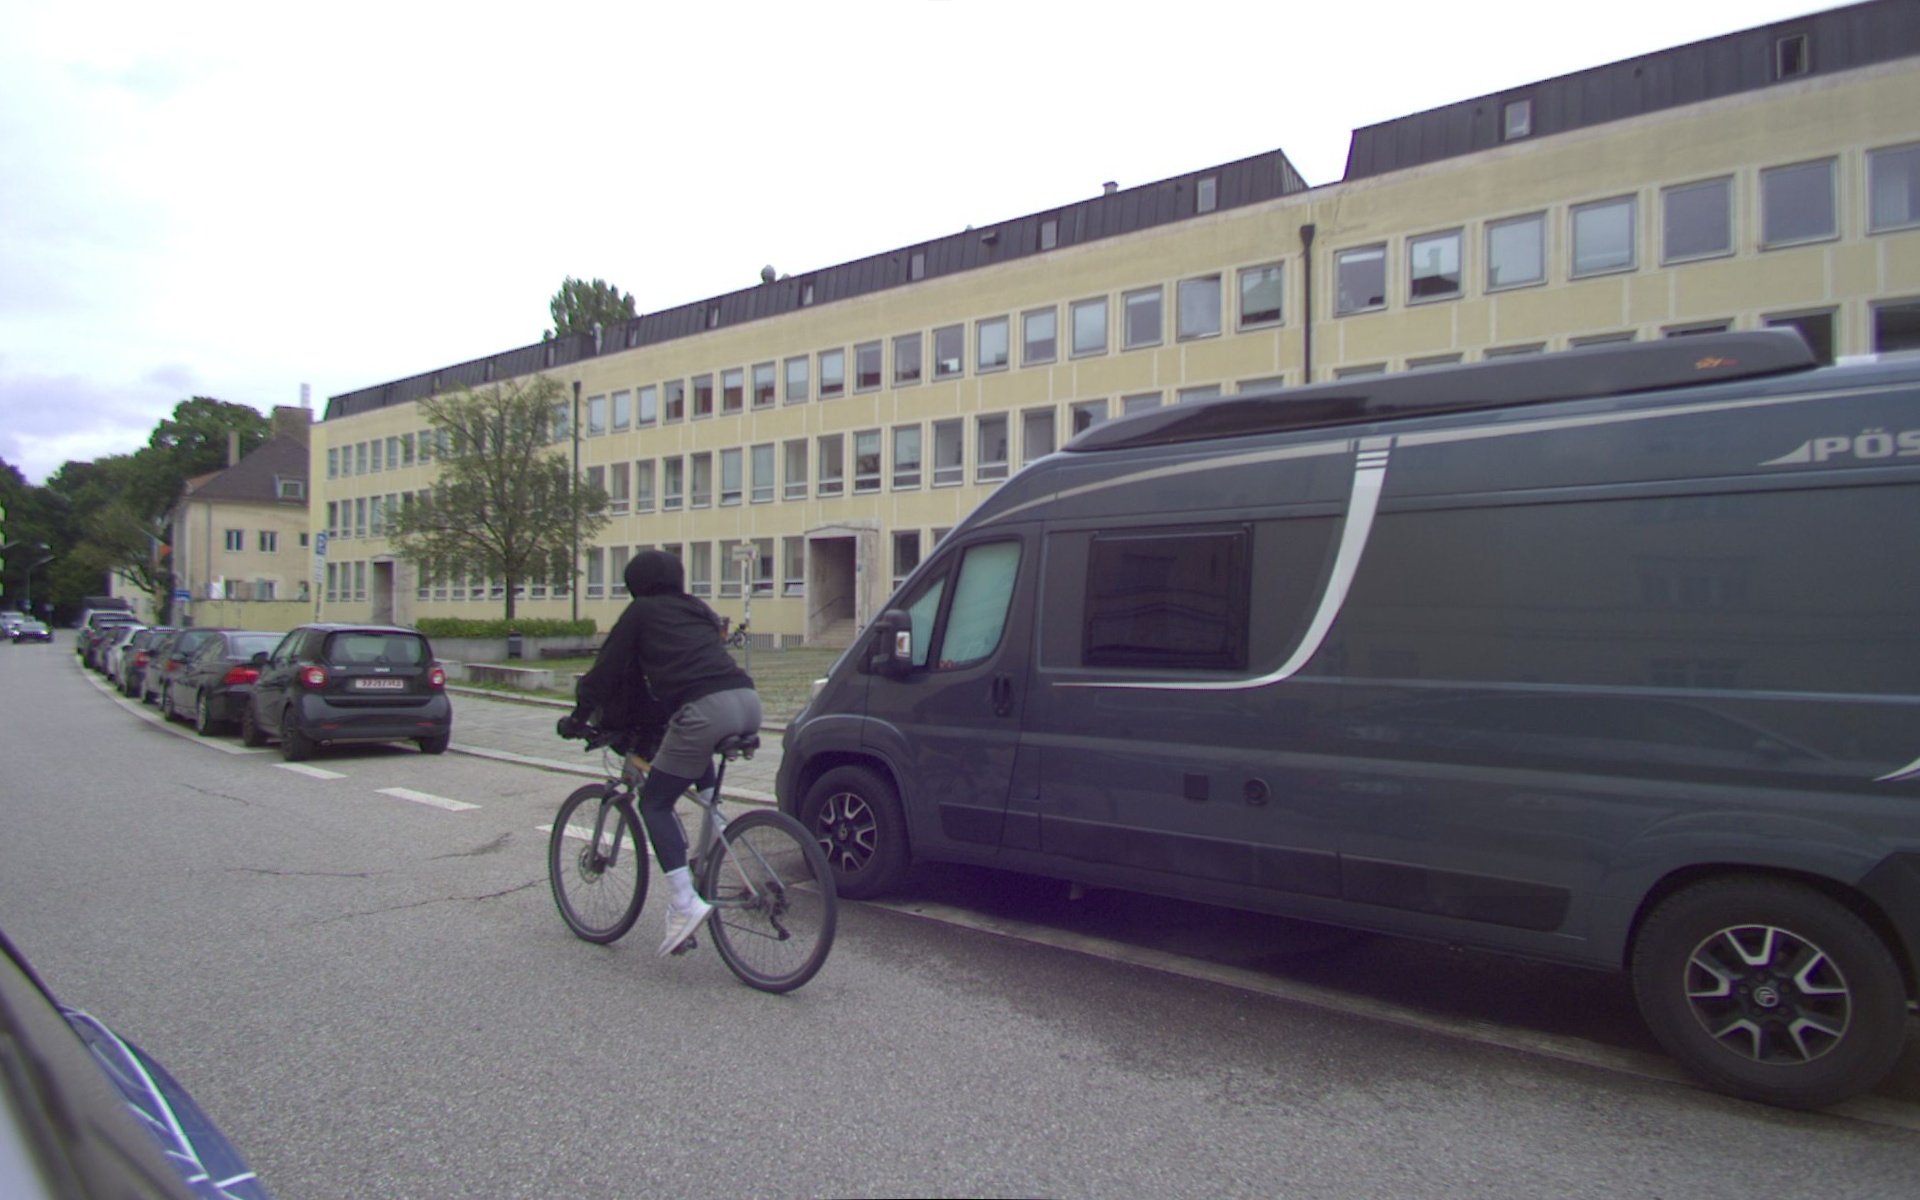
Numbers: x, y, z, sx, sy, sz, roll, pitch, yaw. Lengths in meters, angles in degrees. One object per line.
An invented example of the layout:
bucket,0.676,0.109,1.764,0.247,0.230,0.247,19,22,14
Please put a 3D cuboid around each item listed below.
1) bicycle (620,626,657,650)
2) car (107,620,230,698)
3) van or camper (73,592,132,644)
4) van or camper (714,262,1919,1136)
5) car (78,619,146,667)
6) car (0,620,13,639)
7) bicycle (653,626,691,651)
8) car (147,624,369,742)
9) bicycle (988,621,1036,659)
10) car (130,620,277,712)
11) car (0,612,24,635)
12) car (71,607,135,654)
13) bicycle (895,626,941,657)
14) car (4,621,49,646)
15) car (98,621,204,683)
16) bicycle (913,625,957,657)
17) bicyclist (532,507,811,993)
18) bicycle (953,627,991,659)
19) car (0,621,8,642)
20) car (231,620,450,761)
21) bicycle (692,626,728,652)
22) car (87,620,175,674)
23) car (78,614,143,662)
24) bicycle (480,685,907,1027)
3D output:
bicycle,-13.517,1.600,42.566,0.501,0.952,1.593,-1,0,30
car,-16.999,1.202,21.660,1.611,1.506,4.279,3,-3,-43
van or camper,-46.852,1.014,55.382,2.264,2.671,5.570,4,-3,-39
van or camper,1.708,0.354,5.212,6.071,2.601,2.277,-1,-3,35
car,-28.218,1.413,33.643,1.611,1.506,3.825,3,-3,-41
car,-77.095,2.348,81.112,1.644,1.478,4.381,2,-1,-43
bicycle,-11.710,1.547,41.197,0.501,0.952,1.593,-1,0,30
car,-10.390,1.119,14.847,4.467,1.477,1.754,-1,-4,44
bicycle,1.634,1.234,31.708,0.700,1.104,1.831,-1,0,31
car,-13.886,1.155,18.508,1.612,1.506,3.606,5,-4,-44
car,-86.742,2.177,92.310,1.830,2.046,4.790,0,-1,-40
car,-38.506,1.403,45.419,1.892,1.975,4.966,4,-4,-43
bicycle,-1.381,1.362,33.541,0.413,0.952,1.934,-1,0,36
car,-58.850,2.100,63.857,1.969,1.541,4.006,0,-1,-41
car,-20.694,1.270,25.837,1.720,1.433,4.297,0,-1,-44
bicycle,-0.795,1.318,33.066,0.413,0.952,1.841,-1,0,36
bicyclist,-1.205,0.572,4.287,0.813,1.785,0.738,-1,-4,35
bicycle,0.389,1.362,32.483,0.414,0.952,1.392,-1,0,40
car,-70.746,2.326,73.810,1.769,1.493,4.609,-1,0,-42
car,-7.514,1.013,12.203,2.887,1.477,1.502,-1,-4,44
bicycle,-9.810,1.526,39.767,0.500,0.952,1.596,-1,0,24
car,-24.855,1.396,30.307,1.612,1.506,4.103,4,-4,-44
car,-31.706,1.405,37.720,1.694,1.702,4.146,3,-3,-41
bicycle,-1.170,0.929,4.225,1.932,1.078,0.580,-1,-4,35
